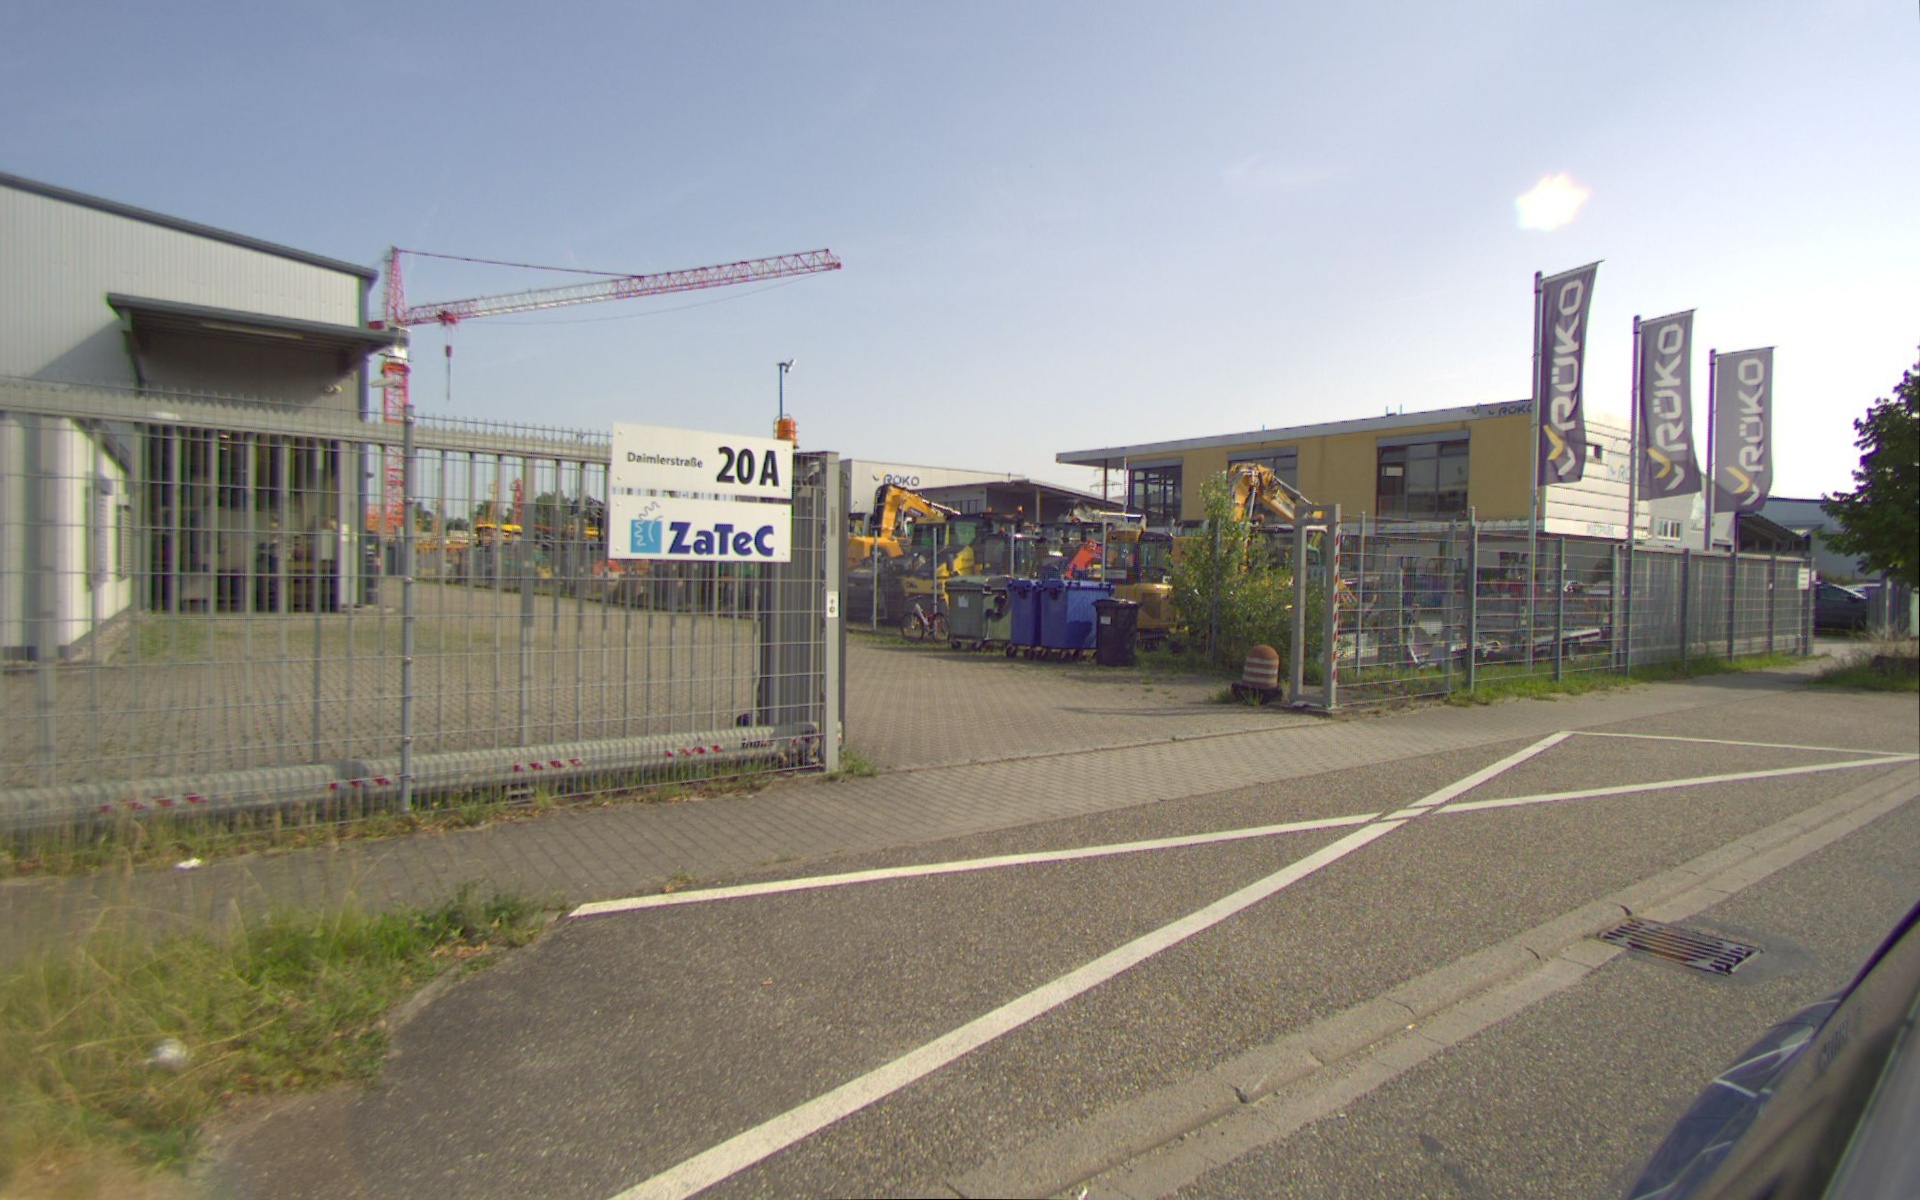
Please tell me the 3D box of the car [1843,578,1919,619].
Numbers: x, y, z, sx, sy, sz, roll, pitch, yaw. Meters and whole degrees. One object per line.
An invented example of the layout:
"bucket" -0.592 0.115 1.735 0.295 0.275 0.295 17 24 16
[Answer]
"car" 35.913 -0.059 37.996 1.760 1.496 3.993 0 1 -41

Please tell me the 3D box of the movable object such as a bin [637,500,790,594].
"movable object such as a bin" -10.682 -2.250 44.158 6.036 3.827 2.456 -1 3 -41

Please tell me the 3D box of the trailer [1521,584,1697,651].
"trailer" 15.237 0.340 23.690 4.479 1.327 2.000 -2 3 -36

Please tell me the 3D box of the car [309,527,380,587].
"car" -27.179 -1.902 44.638 2.184 2.420 4.704 2 1 -37

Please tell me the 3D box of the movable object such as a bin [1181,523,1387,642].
"movable object such as a bin" 7.485 -0.413 23.238 4.671 2.489 2.001 0 2 -33

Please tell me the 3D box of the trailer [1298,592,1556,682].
"trailer" 8.119 0.531 17.416 4.709 1.259 2.132 0 2 -39

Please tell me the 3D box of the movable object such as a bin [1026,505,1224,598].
"movable object such as a bin" 5.433 -1.494 32.884 6.230 2.749 2.709 0 2 -37

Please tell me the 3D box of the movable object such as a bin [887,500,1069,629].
"movable object such as a bin" 0.510 -0.900 26.218 4.408 3.069 1.999 0 2 -37

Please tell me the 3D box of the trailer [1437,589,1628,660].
"trailer" 11.721 0.426 20.628 4.216 1.259 1.949 0 2 -39

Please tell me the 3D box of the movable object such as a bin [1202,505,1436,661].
"movable object such as a bin" 7.305 -0.364 20.358 5.064 2.786 1.893 0 2 -37

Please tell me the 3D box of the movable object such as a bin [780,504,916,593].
"movable object such as a bin" -5.242 -2.400 47.951 5.920 3.977 2.722 -1 3 -42

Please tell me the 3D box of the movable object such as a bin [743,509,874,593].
"movable object such as a bin" -7.504 -2.418 50.523 5.920 3.977 2.722 -1 3 -42

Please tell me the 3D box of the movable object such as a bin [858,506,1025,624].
"movable object such as a bin" -0.482 -0.970 28.394 4.292 3.069 1.999 0 2 -37

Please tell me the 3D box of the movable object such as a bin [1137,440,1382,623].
"movable object such as a bin" 9.173 -1.883 30.564 7.534 4.866 3.325 0 2 -39

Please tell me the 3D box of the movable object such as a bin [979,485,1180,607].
"movable object such as a bin" 4.361 -1.816 36.178 7.077 3.977 2.926 0 2 -39

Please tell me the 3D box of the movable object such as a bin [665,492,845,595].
"movable object such as a bin" -8.491 -2.297 42.464 7.077 3.977 2.471 -1 3 -41

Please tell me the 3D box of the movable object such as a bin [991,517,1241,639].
"movable object such as a bin" 3.701 -0.521 23.684 5.239 2.522 2.932 0 2 -37

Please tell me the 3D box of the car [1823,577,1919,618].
"car" 33.813 -0.109 36.403 1.759 1.388 3.994 0 2 -41

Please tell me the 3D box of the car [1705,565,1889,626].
"car" 26.113 -0.199 31.668 1.868 1.759 4.228 -1 2 -44

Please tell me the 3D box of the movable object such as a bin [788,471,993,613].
"movable object such as a bin" -2.052 -1.680 30.708 5.612 3.921 2.692 0 2 -37
